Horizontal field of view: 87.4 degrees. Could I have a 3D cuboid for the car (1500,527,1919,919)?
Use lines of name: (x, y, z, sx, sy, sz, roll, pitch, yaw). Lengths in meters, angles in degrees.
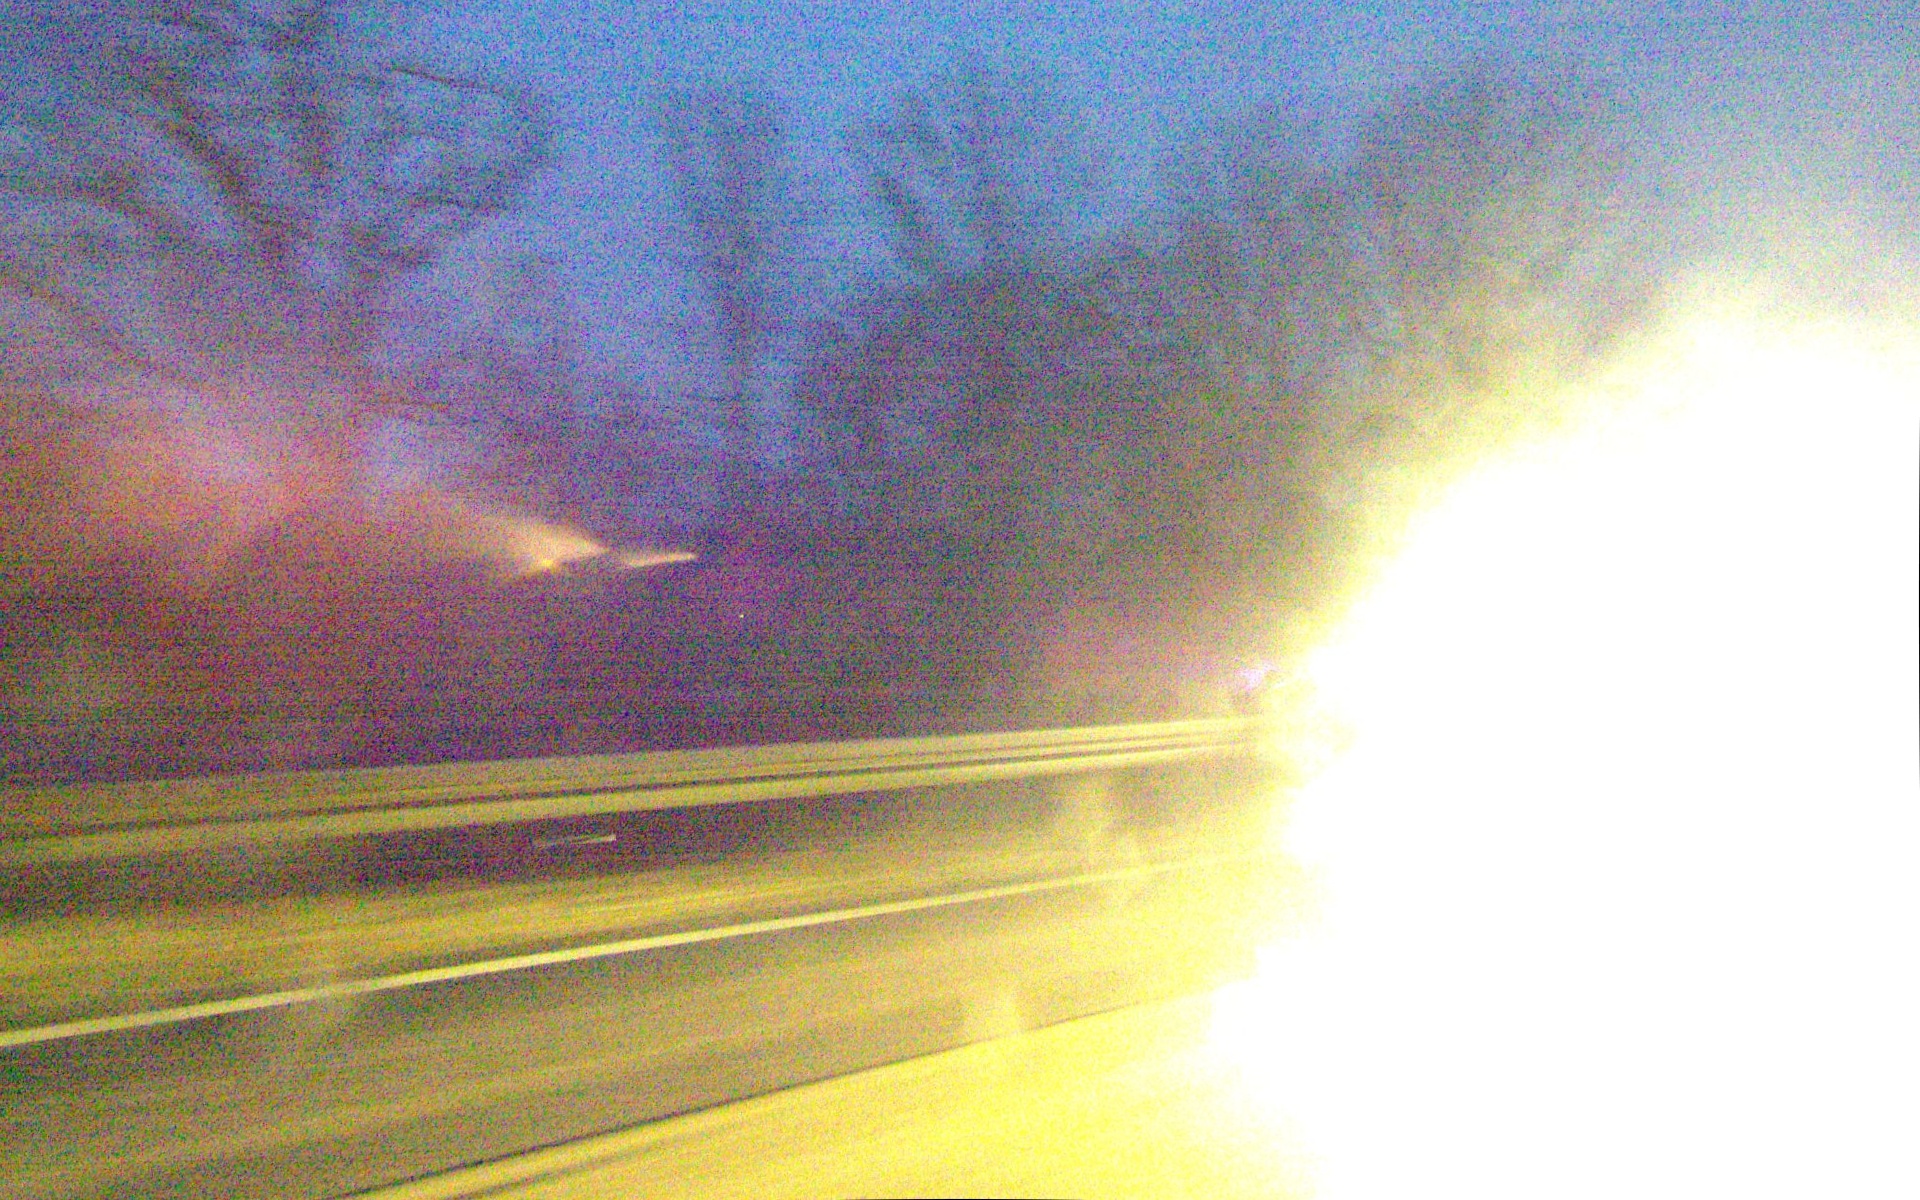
car: (5.595, 0.595, 6.536, 3.955, 1.805, 1.983, 0, -1, -32)
